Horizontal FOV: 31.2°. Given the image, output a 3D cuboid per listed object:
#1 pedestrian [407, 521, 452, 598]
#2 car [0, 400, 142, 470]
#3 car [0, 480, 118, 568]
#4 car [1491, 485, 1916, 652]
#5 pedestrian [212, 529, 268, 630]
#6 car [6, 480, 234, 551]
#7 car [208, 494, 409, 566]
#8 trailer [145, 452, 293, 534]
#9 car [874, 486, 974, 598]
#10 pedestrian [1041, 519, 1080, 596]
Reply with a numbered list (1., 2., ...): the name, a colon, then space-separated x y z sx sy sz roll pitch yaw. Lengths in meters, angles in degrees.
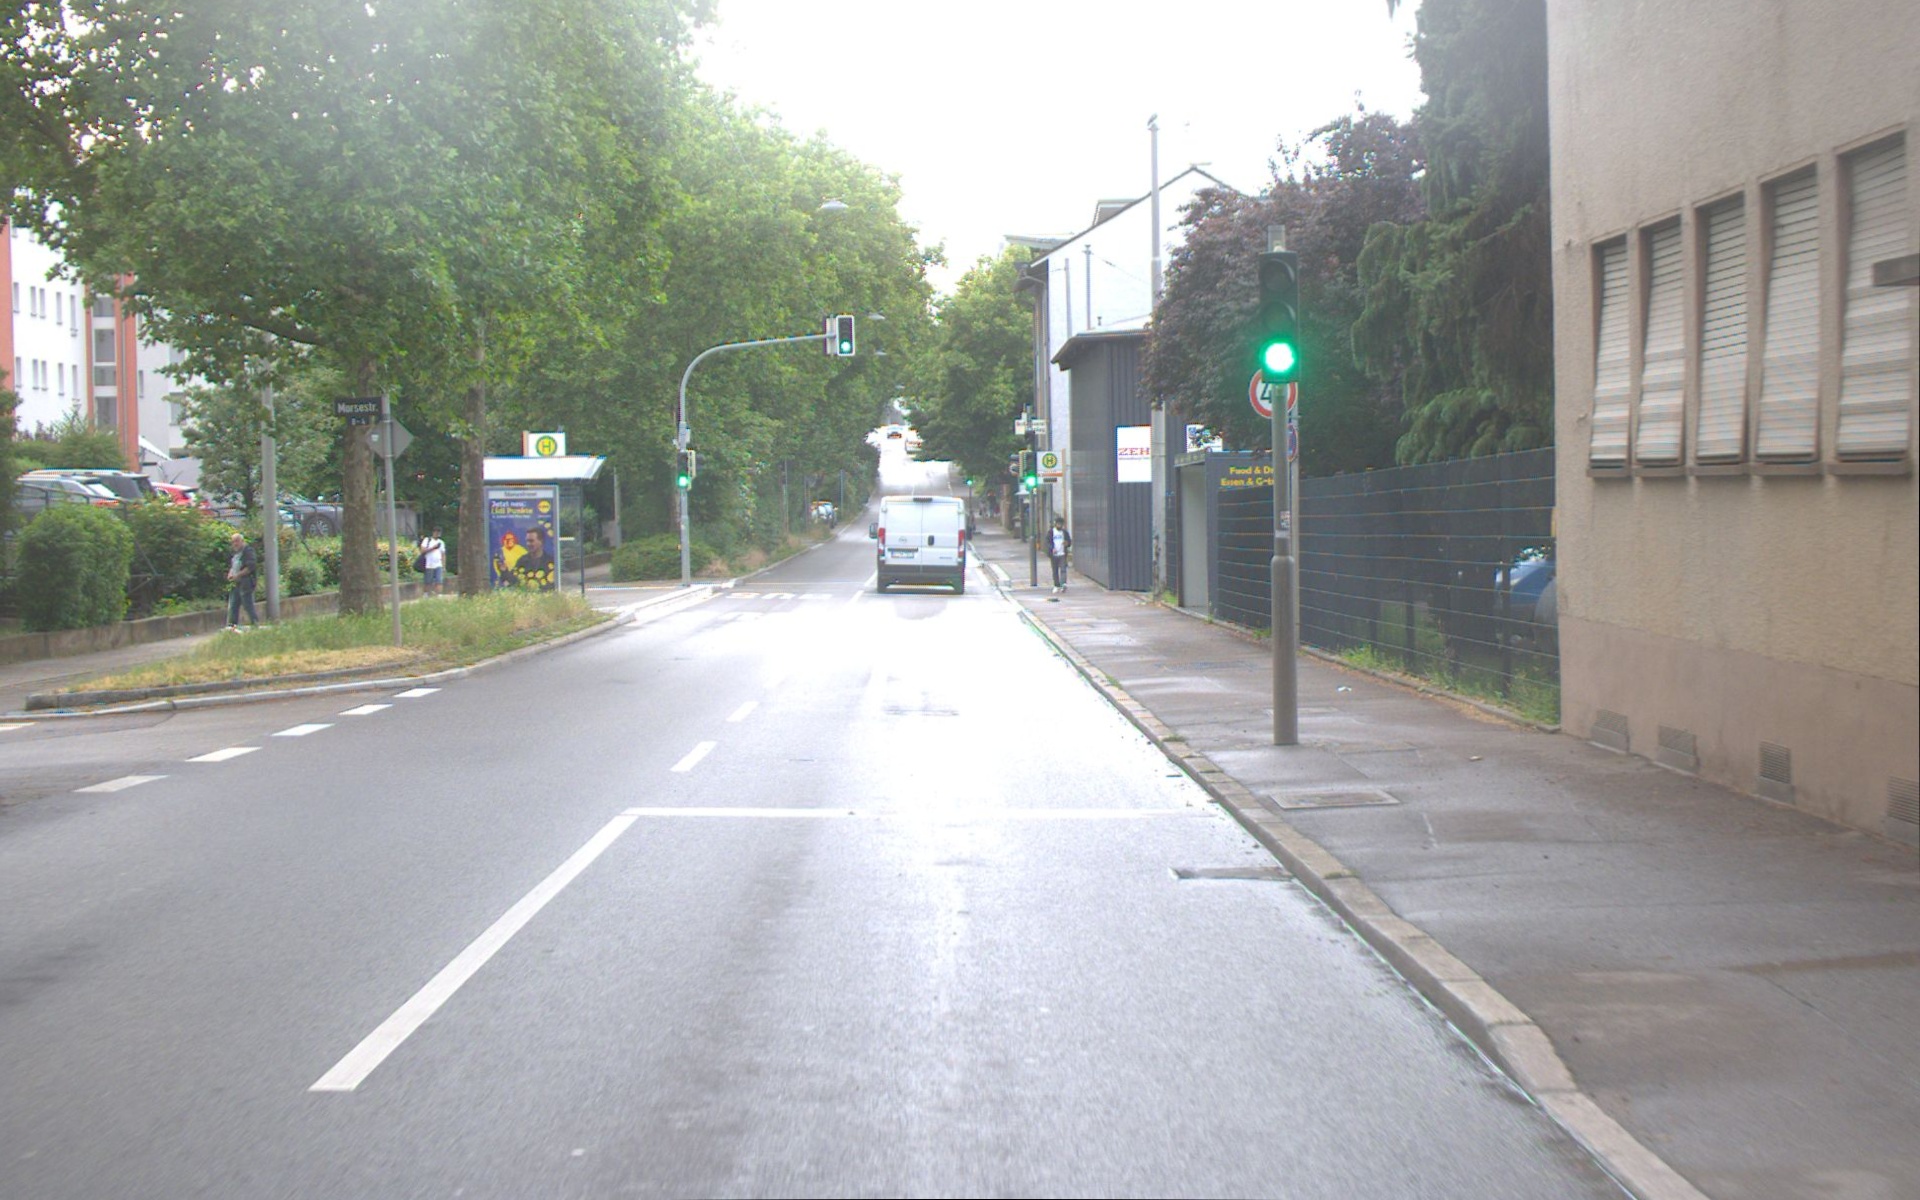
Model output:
1. pedestrian: -11.360 -0.856 73.690 0.741 1.593 0.606 -4 -1 3
2. car: -23.265 -4.252 88.875 3.809 1.596 1.719 1 0 -27
3. car: -17.038 -1.363 61.287 3.652 1.493 1.898 1 0 -4
4. car: 10.575 -0.450 49.175 5.567 2.203 2.000 1 1 -2
5. pedestrian: -11.605 -0.328 55.441 0.755 1.605 0.835 1 0 -5
6. car: -16.730 -1.683 68.580 4.088 1.298 1.810 1 0 0
7. car: -15.953 -1.704 84.324 4.545 1.666 2.000 1 0 -1
8. trailer: -15.220 -2.190 70.679 2.704 1.639 1.480 1 1 1
9. car: -0.823 -1.322 80.109 2.282 2.544 4.000 0 0 0
10. pedestrian: 2.249 -0.949 76.911 0.742 1.698 0.902 1 0 -6
